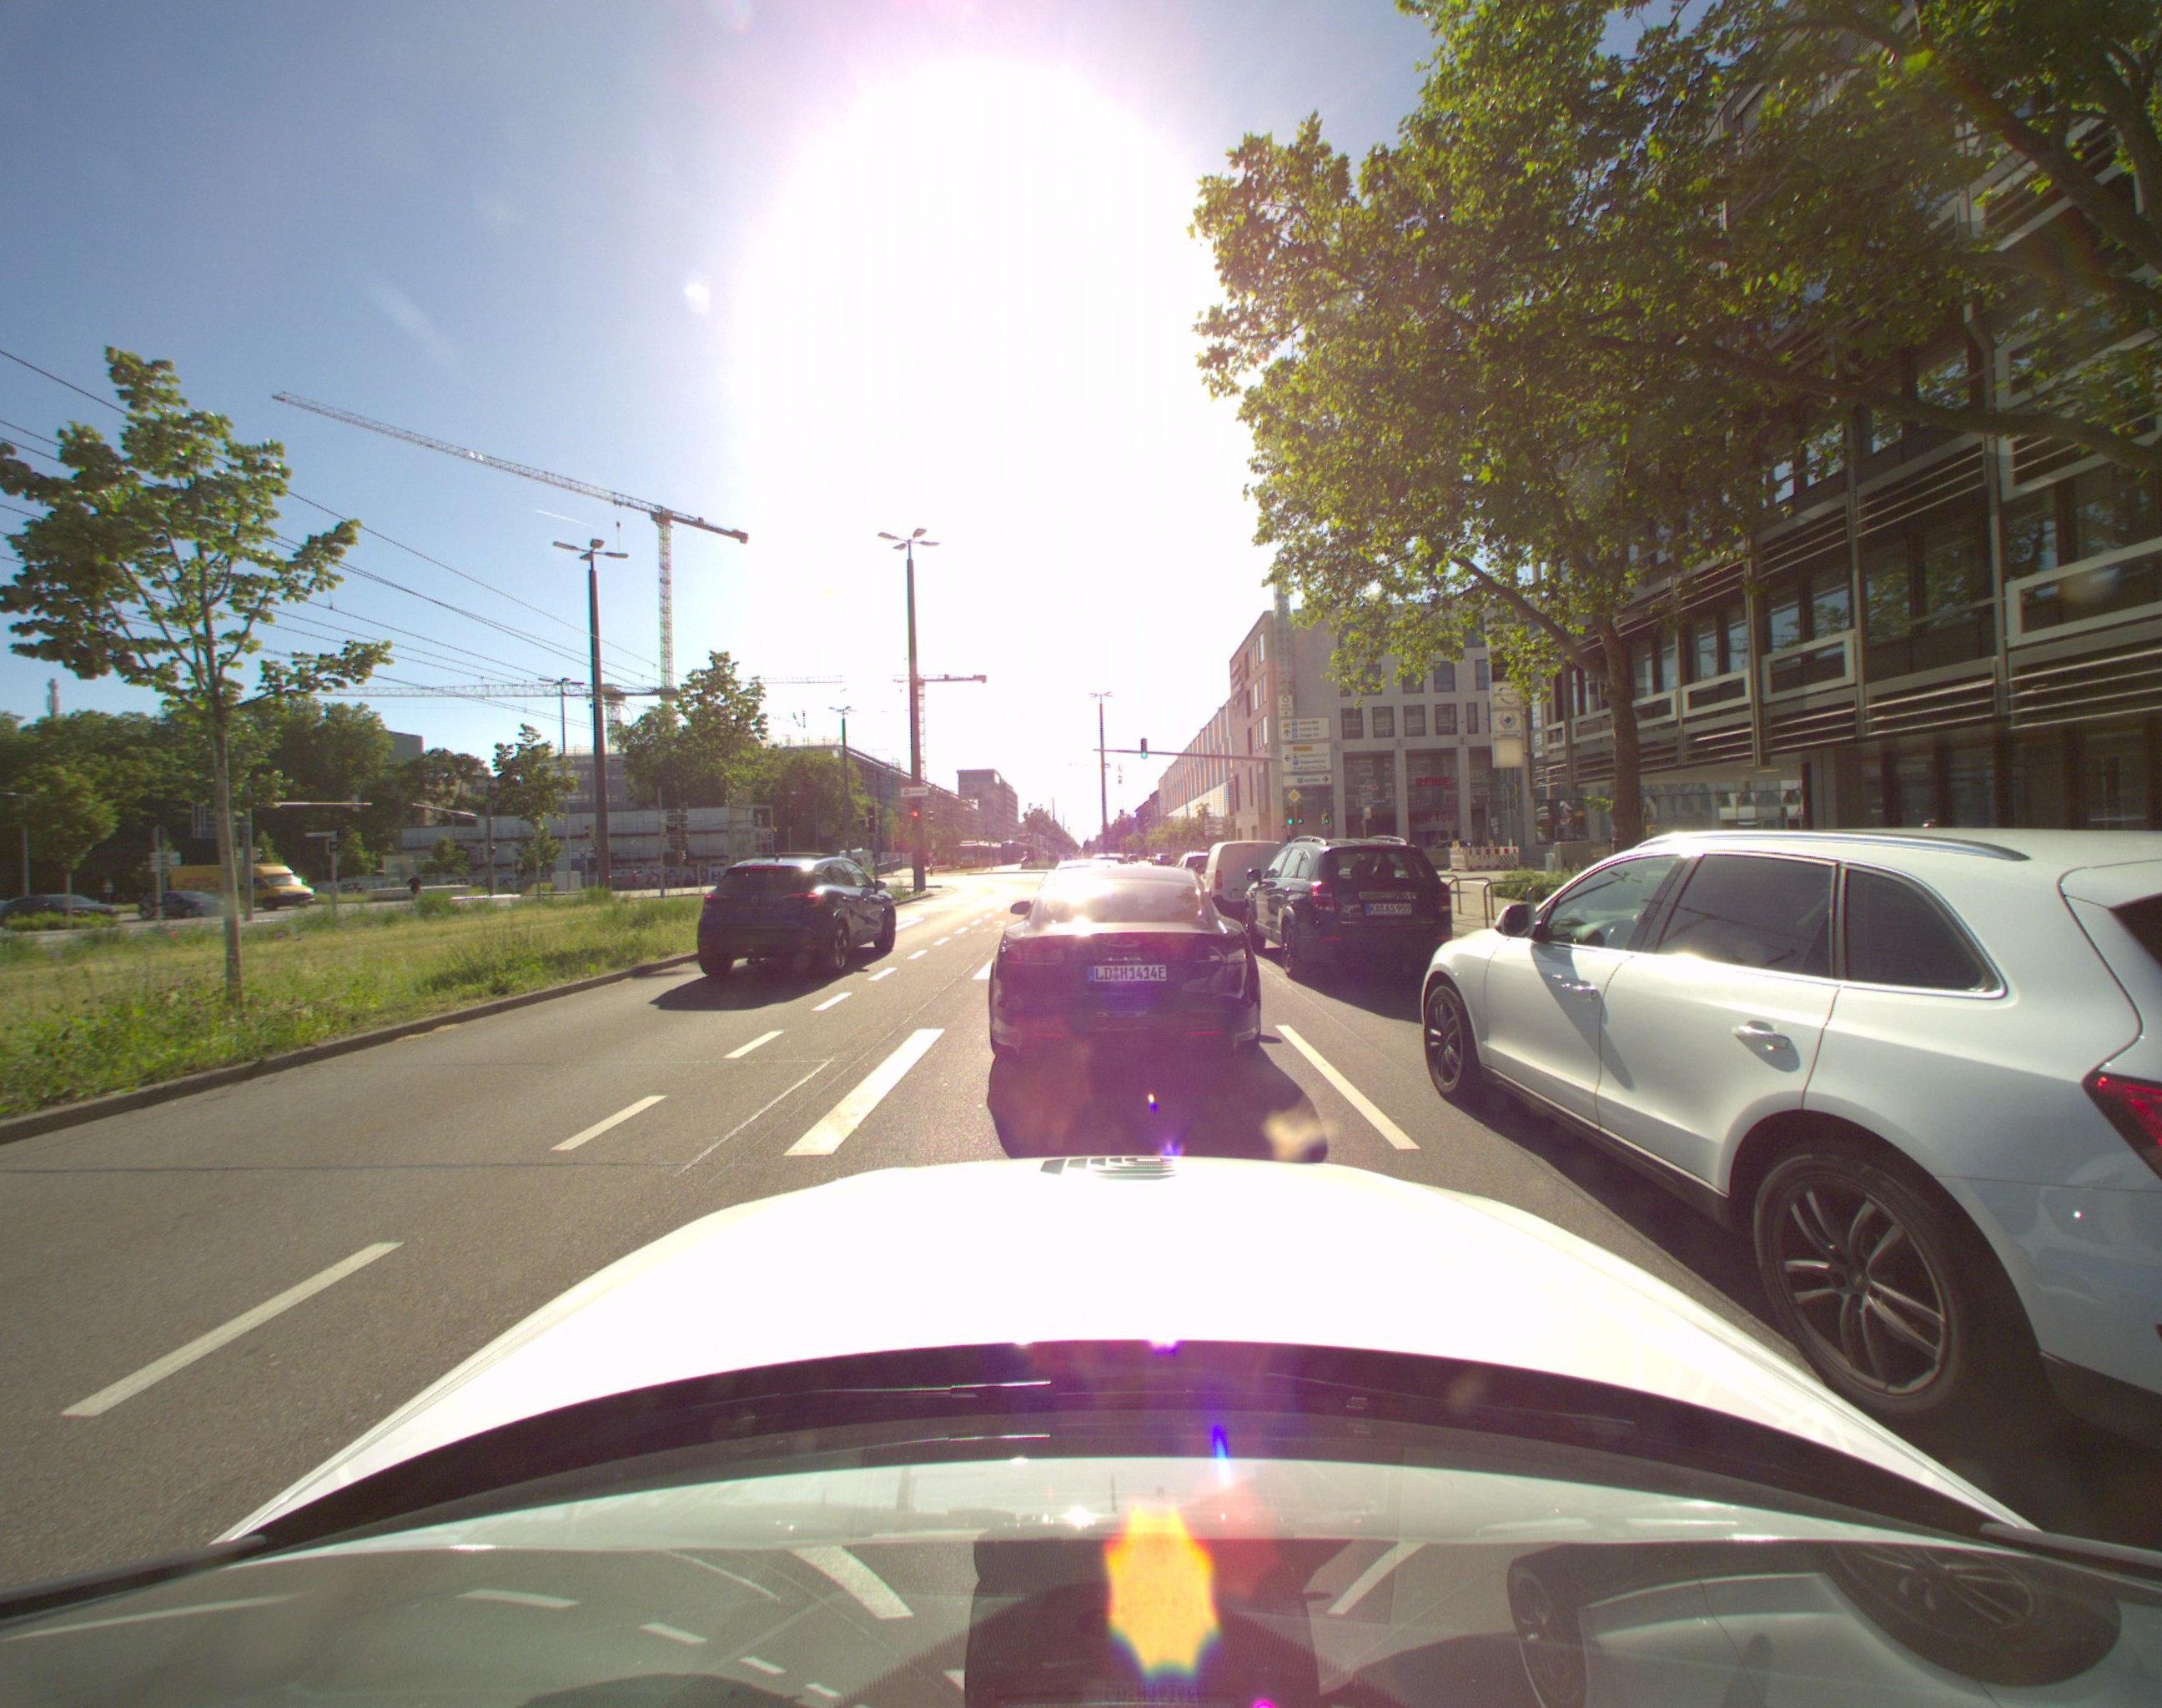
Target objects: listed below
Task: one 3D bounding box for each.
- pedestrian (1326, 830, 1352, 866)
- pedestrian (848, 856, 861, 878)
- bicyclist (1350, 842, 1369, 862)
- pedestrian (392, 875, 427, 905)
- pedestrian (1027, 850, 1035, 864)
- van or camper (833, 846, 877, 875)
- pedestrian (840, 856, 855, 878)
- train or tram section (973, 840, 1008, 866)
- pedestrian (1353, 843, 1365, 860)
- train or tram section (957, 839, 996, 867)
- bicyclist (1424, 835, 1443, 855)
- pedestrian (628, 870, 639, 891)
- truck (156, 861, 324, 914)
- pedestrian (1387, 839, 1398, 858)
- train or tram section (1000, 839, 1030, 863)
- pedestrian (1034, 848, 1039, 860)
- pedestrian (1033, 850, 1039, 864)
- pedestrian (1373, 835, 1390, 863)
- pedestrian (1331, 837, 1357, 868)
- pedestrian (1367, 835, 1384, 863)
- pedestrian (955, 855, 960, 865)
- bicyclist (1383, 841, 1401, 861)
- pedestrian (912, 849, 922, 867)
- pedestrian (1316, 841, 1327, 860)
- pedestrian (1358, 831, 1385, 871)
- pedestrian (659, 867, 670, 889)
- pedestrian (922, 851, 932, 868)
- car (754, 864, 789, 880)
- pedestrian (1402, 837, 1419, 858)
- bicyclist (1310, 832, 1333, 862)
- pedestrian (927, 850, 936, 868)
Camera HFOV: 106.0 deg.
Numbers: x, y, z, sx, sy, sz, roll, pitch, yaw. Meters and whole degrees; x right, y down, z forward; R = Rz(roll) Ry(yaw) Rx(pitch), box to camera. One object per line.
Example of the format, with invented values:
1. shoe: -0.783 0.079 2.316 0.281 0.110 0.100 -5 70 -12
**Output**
1. pedestrian: 14.804 -0.332 46.736 0.946 2.013 1.076 -2 0 -10
2. pedestrian: -19.626 1.103 70.624 0.797 1.823 0.976 -2 0 -2
3. bicyclist: 20.422 -0.150 59.676 1.017 1.476 1.073 -2 0 5
4. pedestrian: -39.297 2.100 47.670 1.185 1.685 0.950 -1 1 9
5. pedestrian: -5.740 0.360 93.179 0.739 1.628 0.862 -2 0 2
6. van or camper: -24.512 0.709 88.755 2.597 2.937 7.340 -2 0 0
7. pedestrian: -19.655 1.083 68.592 0.792 1.823 0.887 -2 0 33
8. train or tram section: -12.541 -0.073 114.845 2.838 3.321 15.967 0 -1 1
9. pedestrian: 25.621 -0.220 75.079 0.559 1.607 0.742 -3 1 -35
10. train or tram section: -12.766 -0.129 100.358 2.860 3.309 13.074 0 0 1
11. bicyclist: 25.857 -0.628 59.717 0.928 1.433 1.042 -2 0 5
12. pedestrian: -39.089 2.308 71.101 0.704 1.823 0.589 -2 0 -36
13. truck: -50.026 1.979 48.513 7.966 2.792 2.467 -2 0 6
14. pedestrian: 28.792 -0.507 75.290 0.559 1.762 0.643 -3 1 -35
15. train or tram section: -9.374 -0.453 117.716 2.860 3.279 15.187 0 0 1
16. pedestrian: -6.721 -0.035 123.690 0.669 1.811 1.075 -2 0 0
17. pedestrian: -5.629 0.349 102.608 0.701 1.775 0.959 0 0 -2
18. pedestrian: 17.690 -0.277 47.911 0.659 1.612 0.525 -4 0 -8
19. pedestrian: 15.991 -0.093 49.556 0.963 1.801 1.523 -4 0 1
20. pedestrian: 17.568 -0.285 48.543 0.659 1.612 0.525 -4 0 -8
21. pedestrian: -15.759 0.779 103.929 0.669 1.226 0.506 0 -1 -2
22. bicyclist: 22.868 -0.223 59.864 0.928 1.396 1.078 -2 0 5
23. pedestrian: -17.341 0.386 85.951 0.797 1.823 0.976 -2 0 -2
24. pedestrian: 21.436 -0.320 72.679 0.745 1.607 0.556 -2 1 0
25. pedestrian: 15.267 -0.150 42.794 0.945 2.013 1.077 -2 0 -6
26. pedestrian: -35.145 2.039 68.776 0.704 1.823 0.589 -2 0 -36
27. pedestrian: -16.706 0.602 88.206 0.797 1.823 0.976 -2 0 -2
28. car: -32.975 1.866 86.876 1.985 1.601 4.004 0 0 3
29. pedestrian: 27.328 -0.523 67.490 0.974 1.684 0.860 -2 0 -1
30. bicyclist: 12.382 -0.346 41.955 0.878 1.477 0.884 -2 0 1
31. pedestrian: -15.645 0.518 85.280 0.797 1.823 0.976 -2 0 -2
